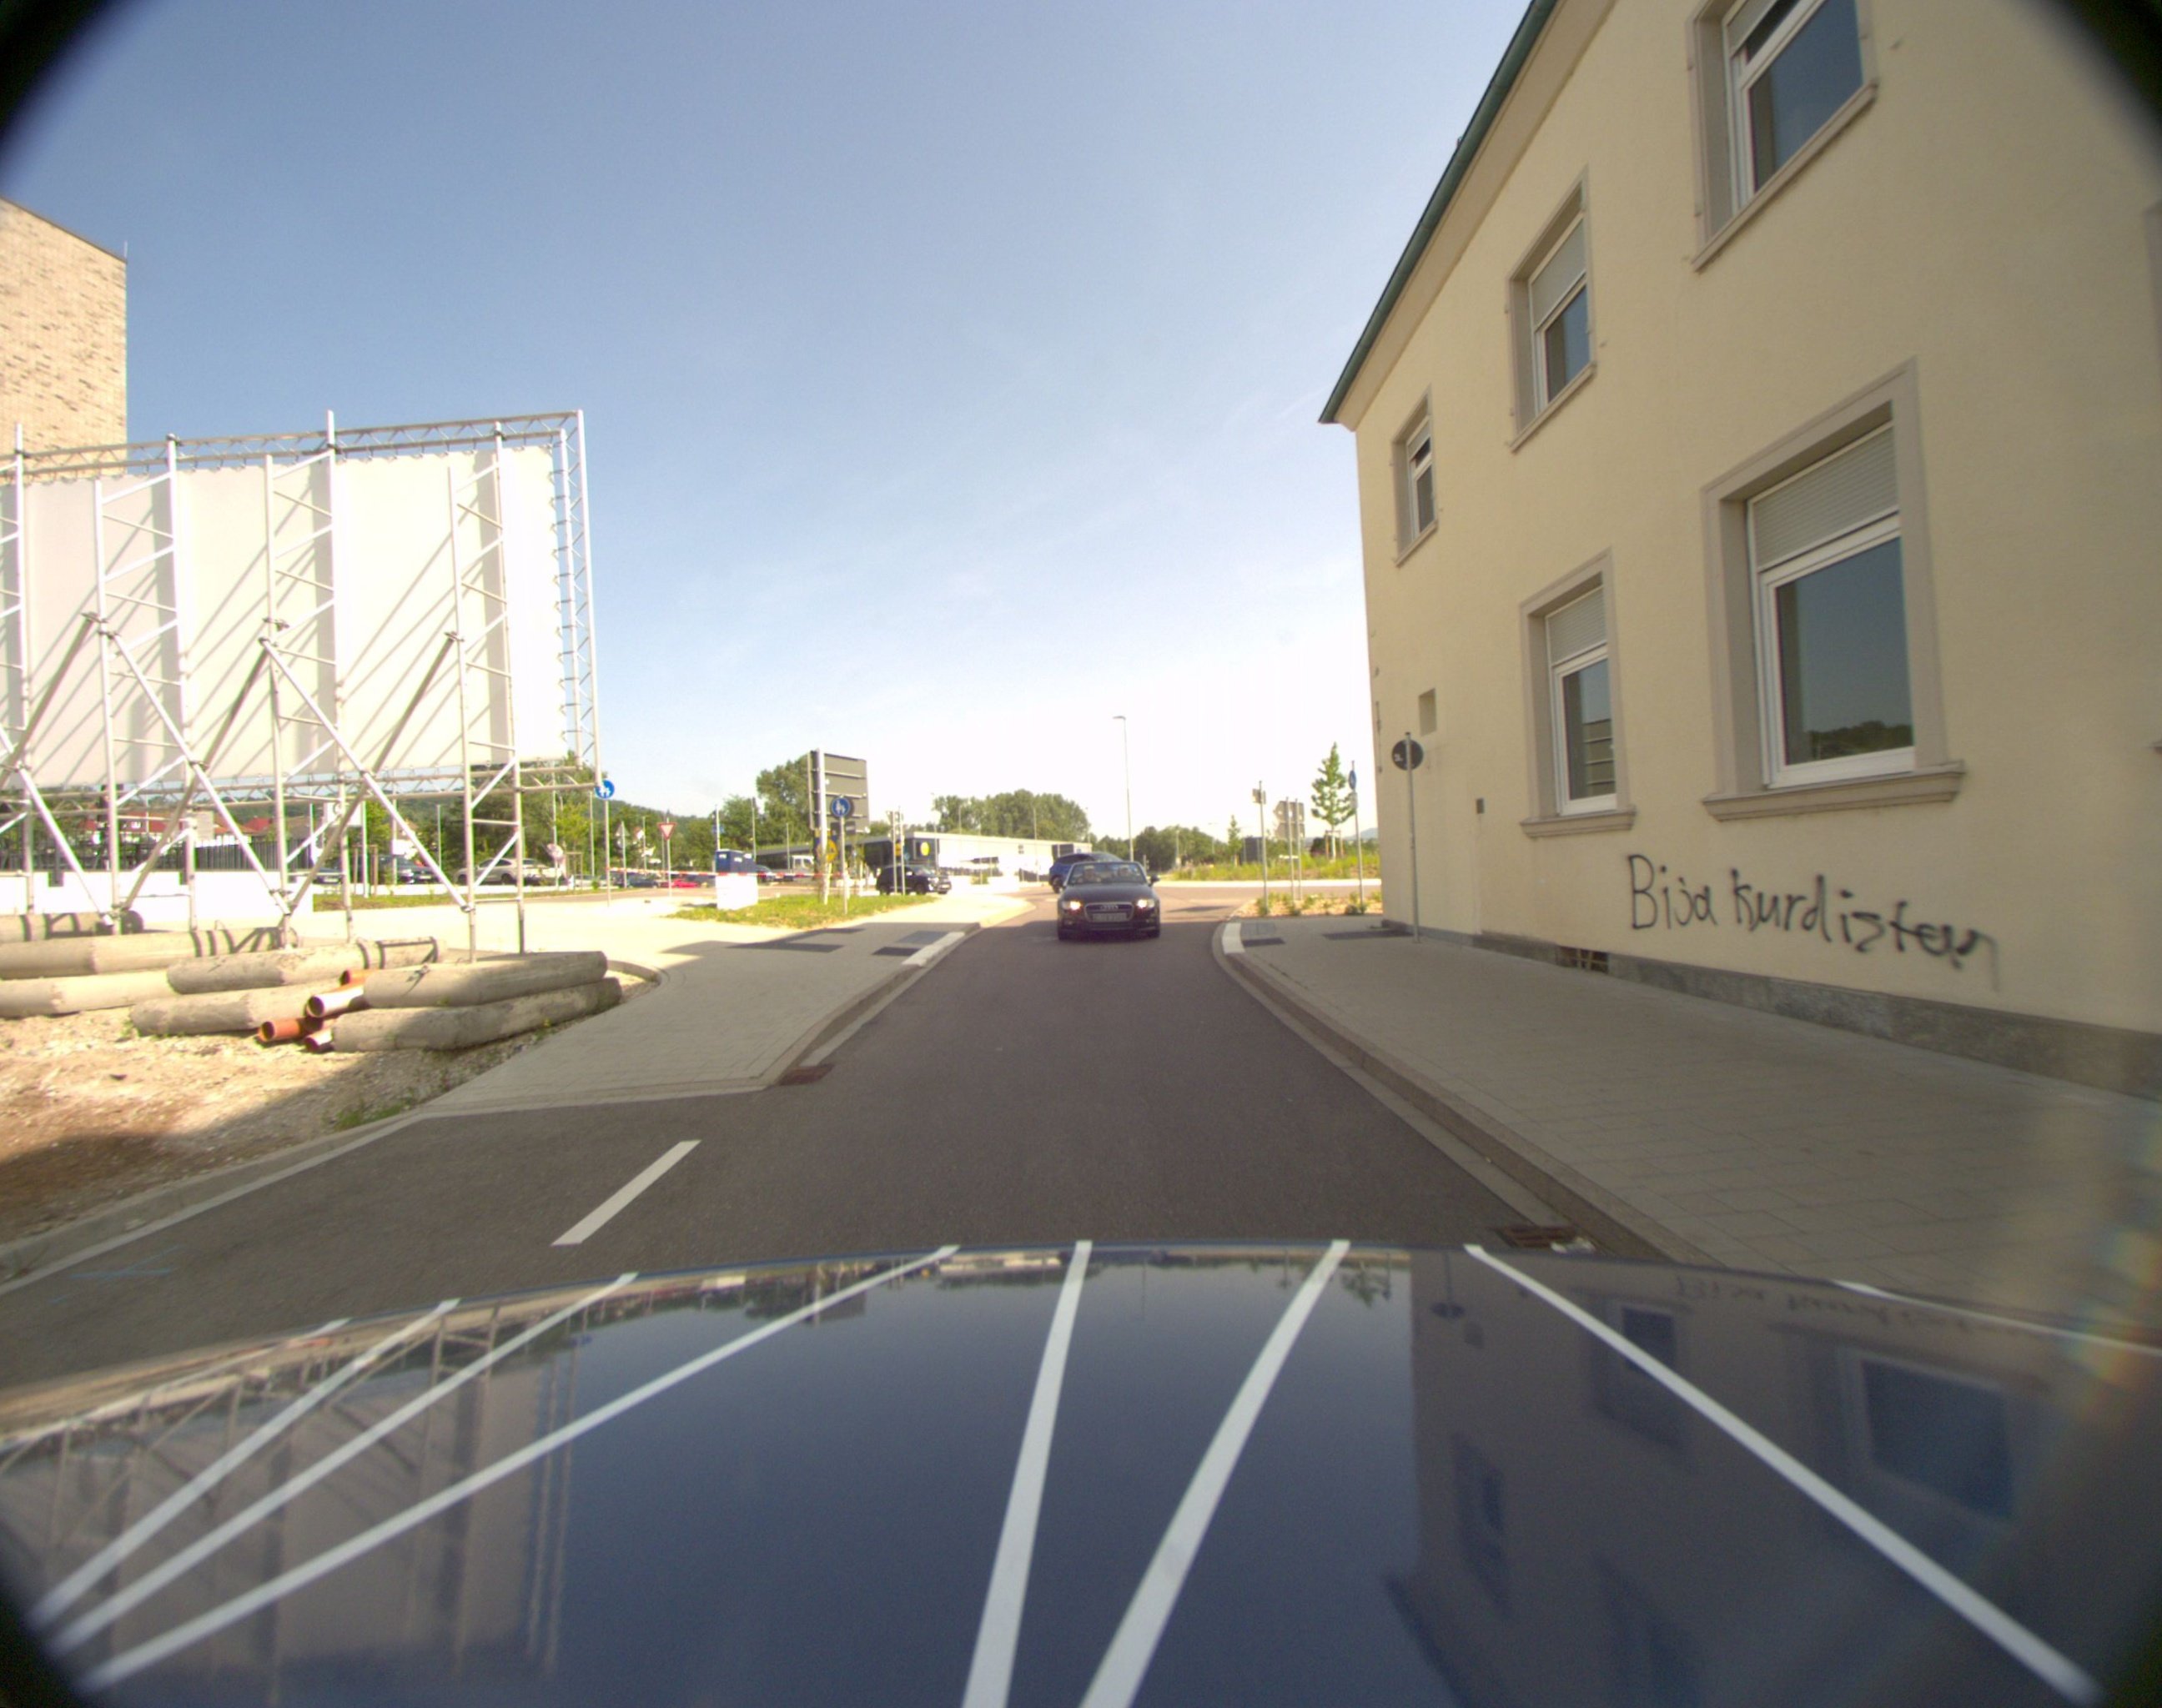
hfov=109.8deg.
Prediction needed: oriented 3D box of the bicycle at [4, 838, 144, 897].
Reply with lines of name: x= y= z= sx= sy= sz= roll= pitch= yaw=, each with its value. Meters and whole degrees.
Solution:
bicycle: x=-23.090 y=0.323 z=17.450 sx=2.243 sy=1.137 sz=0.766 roll=-5 pitch=-2 yaw=2

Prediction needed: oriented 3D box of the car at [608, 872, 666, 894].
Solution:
car: x=-36.469 y=2.359 z=62.508 sx=1.760 sy=1.564 sz=3.792 roll=-5 pitch=-2 yaw=16

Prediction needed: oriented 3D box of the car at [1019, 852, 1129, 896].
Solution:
car: x=-0.355 y=0.780 z=31.113 sx=4.341 sy=1.653 sz=1.891 roll=-1 pitch=1 yaw=42

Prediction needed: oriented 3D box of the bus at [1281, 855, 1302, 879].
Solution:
bus: x=31.698 y=1.952 z=114.837 sx=2.584 sy=3.308 sz=10.603 roll=-5 pitch=-2 yaw=14

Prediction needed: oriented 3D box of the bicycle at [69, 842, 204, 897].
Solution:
bicycle: x=-22.903 y=0.380 z=18.448 sx=2.243 sy=1.137 sz=0.857 roll=-5 pitch=-2 yaw=2

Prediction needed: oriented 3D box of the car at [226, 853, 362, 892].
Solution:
car: x=-33.098 y=0.796 z=31.992 sx=4.452 sy=1.545 sz=1.861 roll=0 pitch=-3 yaw=13

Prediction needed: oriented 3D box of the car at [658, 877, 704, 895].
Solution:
car: x=-39.540 y=3.126 z=75.241 sx=1.760 sy=1.564 sz=3.792 roll=-5 pitch=-2 yaw=16

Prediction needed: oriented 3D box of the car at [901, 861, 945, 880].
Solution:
car: x=-16.039 y=1.665 z=77.056 sx=3.997 sy=1.564 sz=1.704 roll=-5 pitch=-2 yaw=-1

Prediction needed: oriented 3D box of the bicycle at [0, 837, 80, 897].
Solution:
bicycle: x=-23.386 y=0.319 z=16.486 sx=2.243 sy=1.137 sz=0.857 roll=-5 pitch=-2 yaw=2

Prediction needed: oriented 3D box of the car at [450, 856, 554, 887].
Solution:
car: x=-31.090 y=0.973 z=40.799 sx=4.812 sy=1.545 sz=1.861 roll=-1 pitch=-3 yaw=15

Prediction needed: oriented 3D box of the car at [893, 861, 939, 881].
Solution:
car: x=-16.073 y=1.650 z=74.213 sx=4.019 sy=1.564 sz=1.780 roll=-5 pitch=-2 yaw=2

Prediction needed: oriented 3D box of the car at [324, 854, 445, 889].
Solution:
car: x=-32.222 y=0.853 z=35.199 sx=4.452 sy=1.545 sz=1.861 roll=0 pitch=-3 yaw=13

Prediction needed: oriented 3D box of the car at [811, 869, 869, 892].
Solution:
car: x=-20.741 y=2.312 z=65.410 sx=4.468 sy=1.592 sz=1.836 roll=-5 pitch=-2 yaw=19

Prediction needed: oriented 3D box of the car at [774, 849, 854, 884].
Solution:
car: x=-21.924 y=1.038 z=62.354 sx=6.080 sy=2.368 sz=2.064 roll=-5 pitch=-2 yaw=19

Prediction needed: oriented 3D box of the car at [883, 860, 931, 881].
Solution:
car: x=-16.410 y=1.575 z=71.739 sx=4.019 sy=1.564 sz=1.780 roll=-5 pitch=-2 yaw=2

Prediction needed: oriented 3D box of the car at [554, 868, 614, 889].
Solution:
car: x=-37.957 y=1.885 z=58.076 sx=1.523 sy=1.436 sz=3.637 roll=-5 pitch=-2 yaw=17

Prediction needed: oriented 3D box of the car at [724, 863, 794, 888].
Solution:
car: x=-24.244 y=1.610 z=57.196 sx=4.851 sy=1.520 sz=1.926 roll=-5 pitch=-2 yaw=21

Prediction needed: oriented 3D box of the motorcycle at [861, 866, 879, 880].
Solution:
motorcycle: x=-19.084 y=1.727 z=68.648 sx=1.898 sy=1.183 sz=0.592 roll=-6 pitch=-3 yaw=43

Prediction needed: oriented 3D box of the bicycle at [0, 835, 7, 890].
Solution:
bicycle: x=-23.549 y=0.249 z=15.457 sx=2.243 sy=1.137 sz=0.857 roll=-5 pitch=-2 yaw=2

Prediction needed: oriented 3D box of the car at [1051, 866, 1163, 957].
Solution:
car: x=0.487 y=0.922 z=13.815 sx=1.721 sy=1.314 sz=4.224 roll=0 pitch=0 yaw=2

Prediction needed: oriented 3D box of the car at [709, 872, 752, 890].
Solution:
car: x=-34.116 y=2.610 z=74.022 sx=1.663 sy=1.564 sz=3.792 roll=-5 pitch=-2 yaw=16

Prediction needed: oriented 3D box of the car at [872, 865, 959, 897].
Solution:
car: x=-8.378 y=1.360 z=38.387 sx=4.220 sy=1.384 sz=1.647 roll=-4 pitch=-1 yaw=29
